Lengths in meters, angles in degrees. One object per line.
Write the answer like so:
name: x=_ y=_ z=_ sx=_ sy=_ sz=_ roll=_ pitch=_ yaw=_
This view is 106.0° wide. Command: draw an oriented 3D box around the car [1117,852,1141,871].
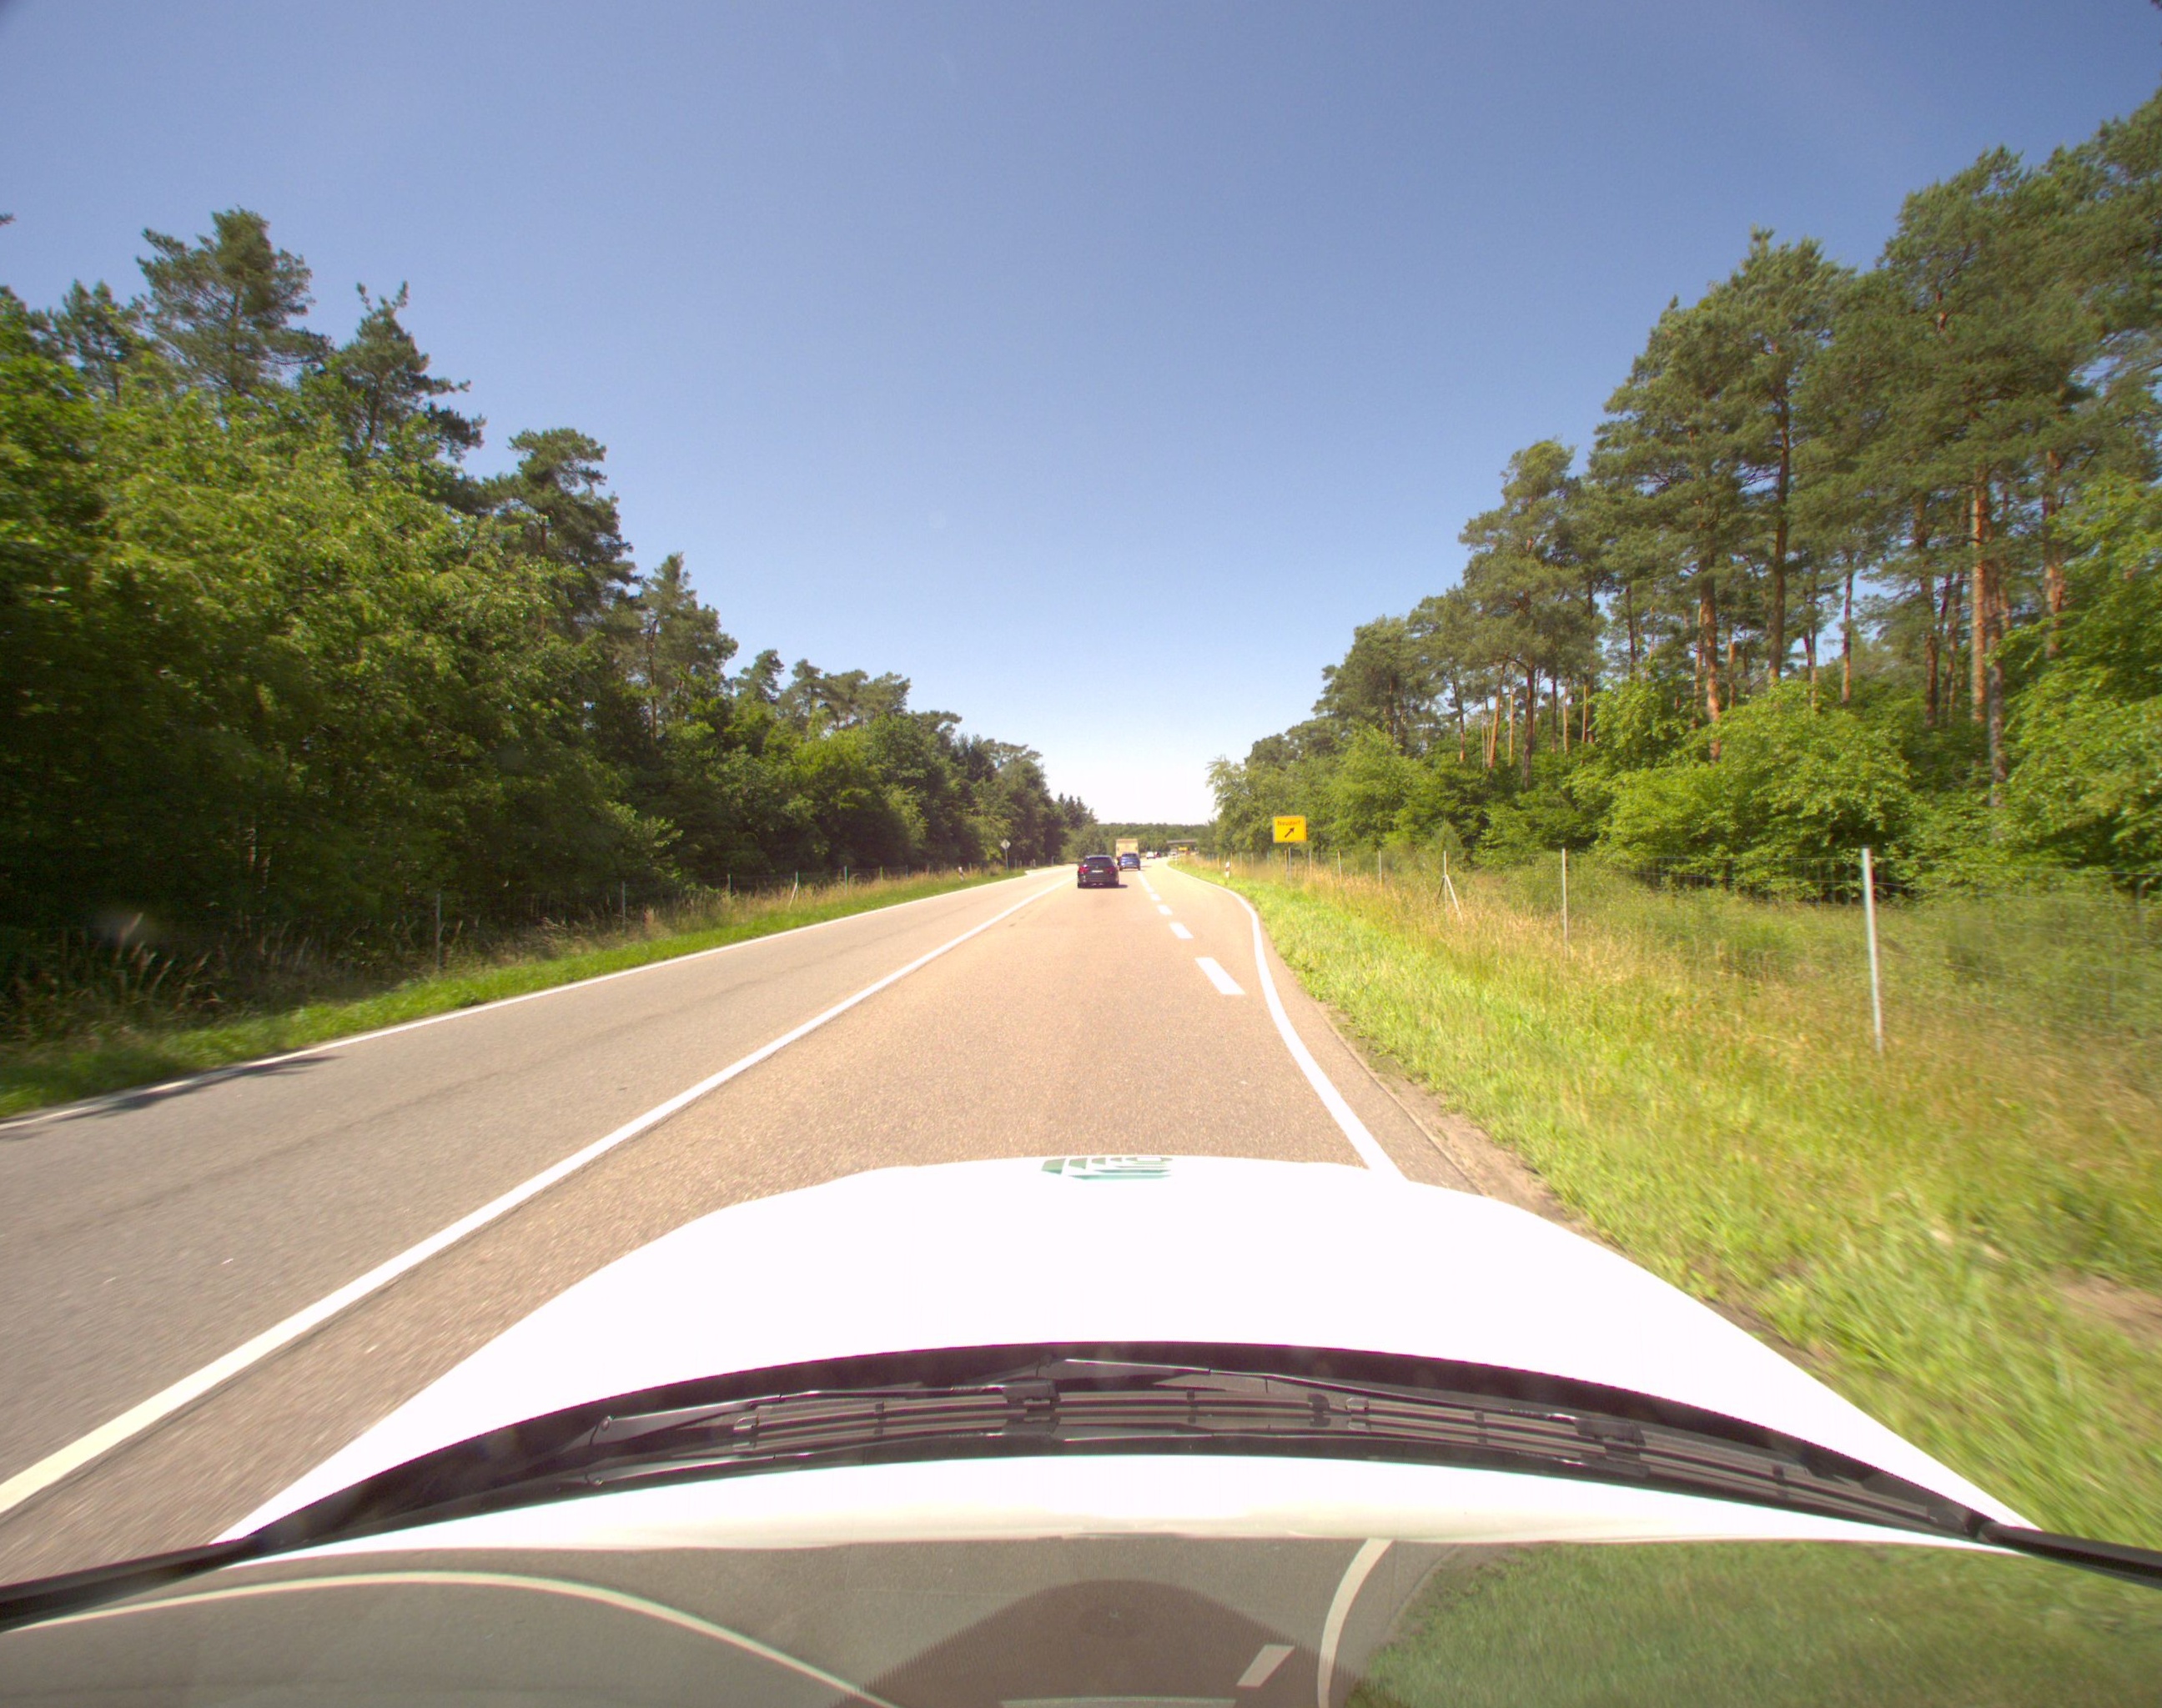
car: x=4.175 y=0.605 z=71.429 sx=1.940 sy=1.541 sz=4.000 roll=-3 pitch=0 yaw=1

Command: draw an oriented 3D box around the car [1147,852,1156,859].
car: x=16.515 y=0.339 z=191.652 sx=1.855 sy=1.605 sz=4.003 roll=-3 pitch=0 yaw=3

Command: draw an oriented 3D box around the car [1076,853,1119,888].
car: x=0.701 y=0.733 z=37.601 sx=1.815 sy=1.470 sz=3.998 roll=-2 pitch=0 yaw=-1

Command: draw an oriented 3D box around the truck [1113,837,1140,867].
truck: x=5.352 y=-0.262 z=95.622 sx=2.953 sy=3.387 sz=6.443 roll=-2 pitch=0 yaw=3

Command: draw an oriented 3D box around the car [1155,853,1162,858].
car: x=20.940 y=0.386 z=220.480 sx=1.984 sy=1.420 sz=4.006 roll=-1 pitch=0 yaw=5

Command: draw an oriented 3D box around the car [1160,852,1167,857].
car: x=25.088 y=0.124 z=246.313 sx=1.983 sy=1.636 sz=4.008 roll=-3 pitch=0 yaw=7
